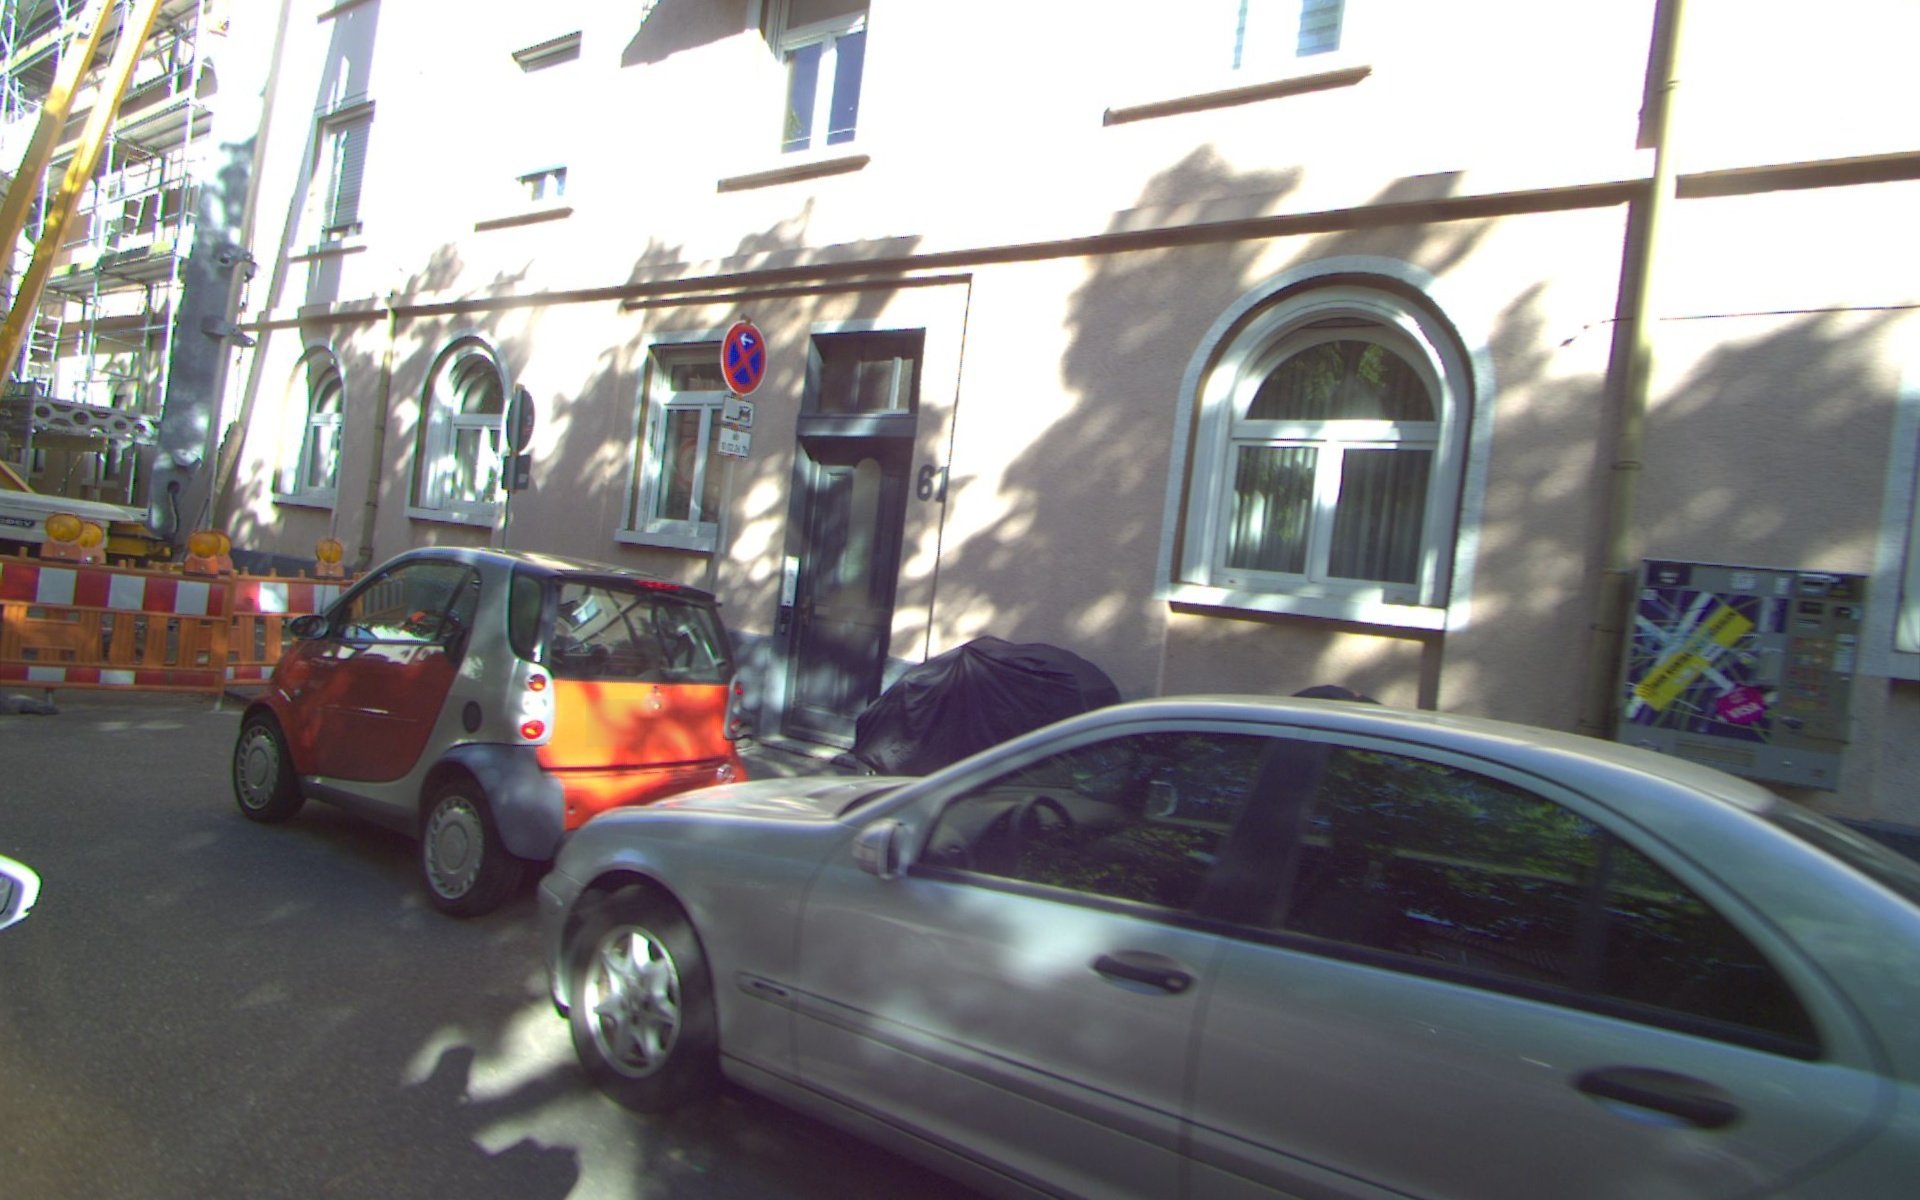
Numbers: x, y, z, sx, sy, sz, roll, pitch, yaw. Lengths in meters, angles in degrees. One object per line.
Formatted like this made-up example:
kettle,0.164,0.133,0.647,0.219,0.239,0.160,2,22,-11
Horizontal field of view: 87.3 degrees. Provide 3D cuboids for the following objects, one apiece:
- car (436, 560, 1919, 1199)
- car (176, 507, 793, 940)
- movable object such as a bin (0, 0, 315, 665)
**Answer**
car,0.776,0.902,2.925,4.426,1.426,1.997,7,-1,32
car,-2.532,0.484,5.332,2.734,1.549,1.594,7,0,32
movable object such as a bin,-8.949,-3.036,9.874,3.447,6.841,2.354,7,0,-25
